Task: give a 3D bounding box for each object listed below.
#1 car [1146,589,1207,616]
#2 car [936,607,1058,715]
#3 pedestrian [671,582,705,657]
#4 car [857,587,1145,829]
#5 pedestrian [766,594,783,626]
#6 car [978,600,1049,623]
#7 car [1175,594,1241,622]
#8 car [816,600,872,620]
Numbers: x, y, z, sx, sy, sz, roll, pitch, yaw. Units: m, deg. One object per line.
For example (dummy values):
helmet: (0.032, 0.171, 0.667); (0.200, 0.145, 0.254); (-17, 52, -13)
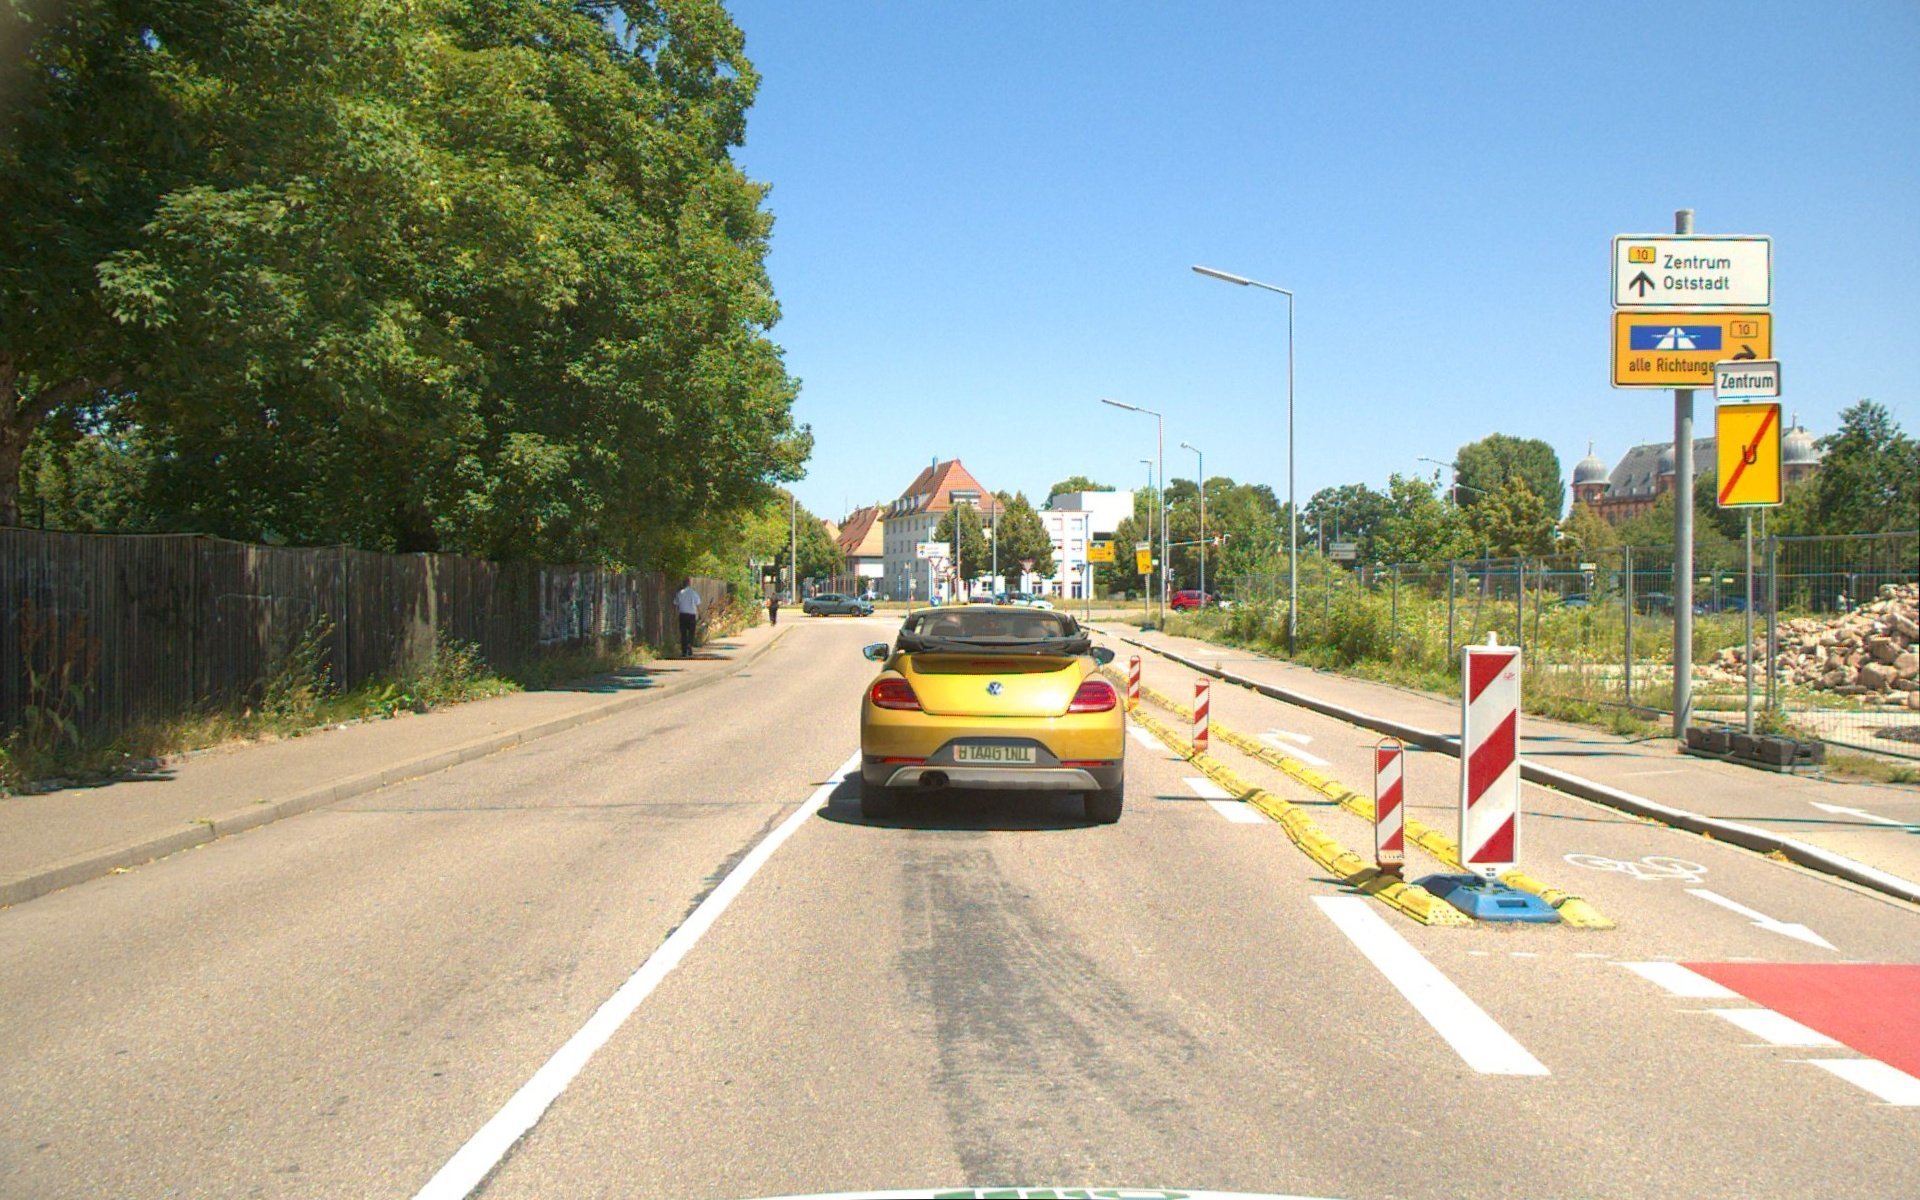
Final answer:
car: (14.485, 0.166, 110.588); (3.977, 1.706, 1.786); (-1, 0, 9)
car: (0.552, 0.859, 25.168); (1.691, 1.468, 4.000); (-1, 0, 1)
pedestrian: (-6.459, 0.463, 39.349); (0.708, 1.755, 0.817); (0, 0, -4)
car: (0.223, 0.709, 12.052); (1.753, 1.462, 3.812); (-1, -2, -1)
pedestrian: (-8.661, 0.444, 77.201); (0.708, 1.479, 0.817); (-1, 0, -4)
car: (3.397, 0.736, 104.669); (4.346, 1.381, 1.538); (-1, 0, 6)
car: (15.378, 0.476, 102.681); (3.977, 1.706, 1.786); (-1, 0, 8)
car: (-7.440, 0.633, 106.205); (3.364, 1.298, 1.407); (0, 0, 9)
